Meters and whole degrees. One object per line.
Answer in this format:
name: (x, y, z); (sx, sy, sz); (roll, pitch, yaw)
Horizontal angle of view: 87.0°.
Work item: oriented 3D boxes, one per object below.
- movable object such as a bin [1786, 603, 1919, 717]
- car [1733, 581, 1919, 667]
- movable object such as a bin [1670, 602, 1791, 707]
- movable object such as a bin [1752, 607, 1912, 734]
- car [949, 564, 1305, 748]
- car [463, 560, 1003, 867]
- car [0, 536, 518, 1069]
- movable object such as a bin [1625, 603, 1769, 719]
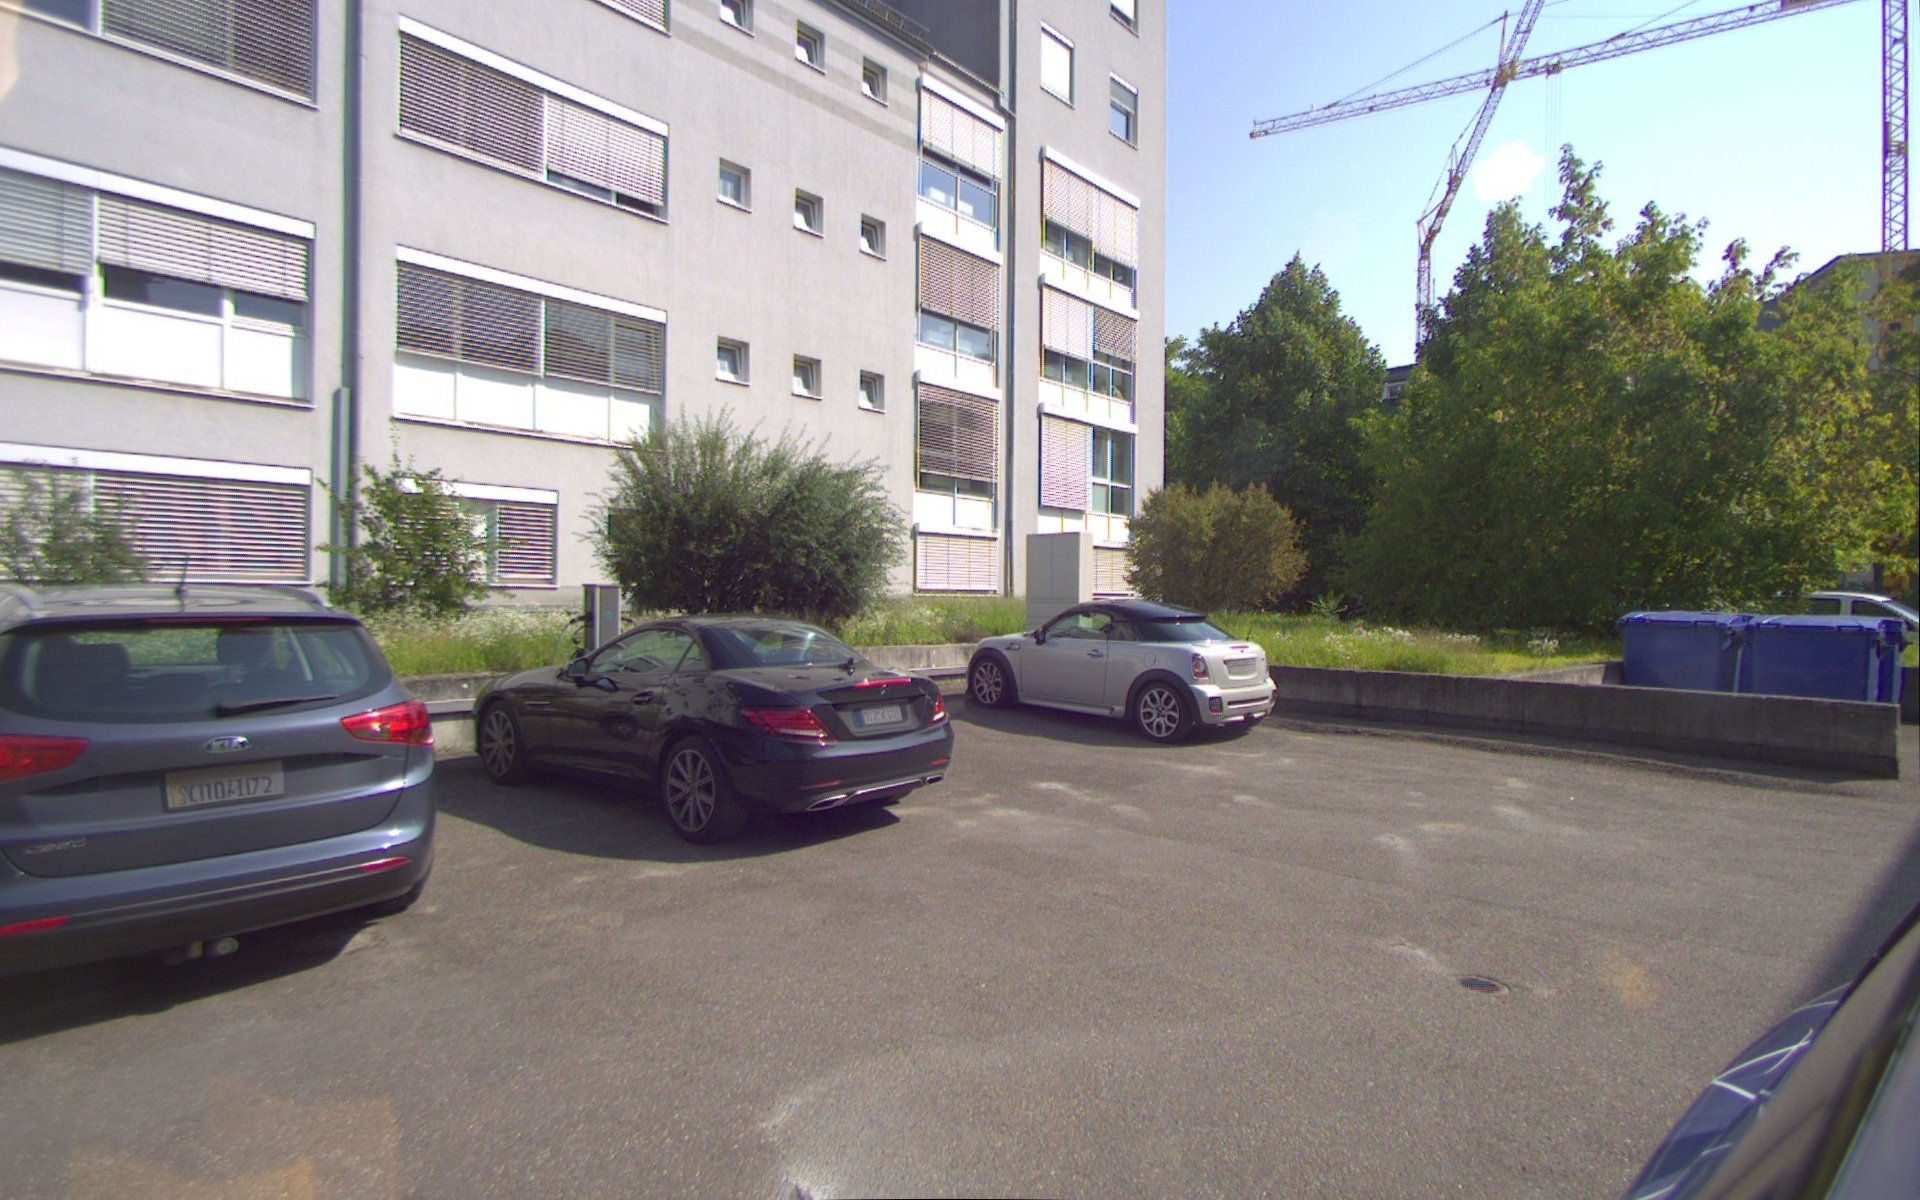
movable object such as a bin: (11.560, 0.732, 13.039); (1.082, 1.357, 1.310); (0, 0, -44)
car: (21.865, 0.537, 24.269); (2.007, 1.945, 4.968); (-1, 0, -39)
movable object such as a bin: (10.695, 0.710, 14.055); (1.226, 1.357, 1.060); (0, 0, 44)
movable object such as a bin: (10.256, 0.777, 11.914); (1.174, 1.357, 1.302); (0, 0, -42)
car: (1.774, 0.479, 11.532); (1.772, 1.563, 3.625); (0, 5, -43)
car: (-1.757, 0.582, 7.262); (3.793, 1.609, 1.870); (0, 0, 39)
car: (-3.847, 0.598, 4.864); (3.862, 1.609, 1.850); (0, 0, 44)
movable object such as a bin: (9.420, 0.733, 12.949); (1.096, 1.357, 1.238); (0, 0, -38)
